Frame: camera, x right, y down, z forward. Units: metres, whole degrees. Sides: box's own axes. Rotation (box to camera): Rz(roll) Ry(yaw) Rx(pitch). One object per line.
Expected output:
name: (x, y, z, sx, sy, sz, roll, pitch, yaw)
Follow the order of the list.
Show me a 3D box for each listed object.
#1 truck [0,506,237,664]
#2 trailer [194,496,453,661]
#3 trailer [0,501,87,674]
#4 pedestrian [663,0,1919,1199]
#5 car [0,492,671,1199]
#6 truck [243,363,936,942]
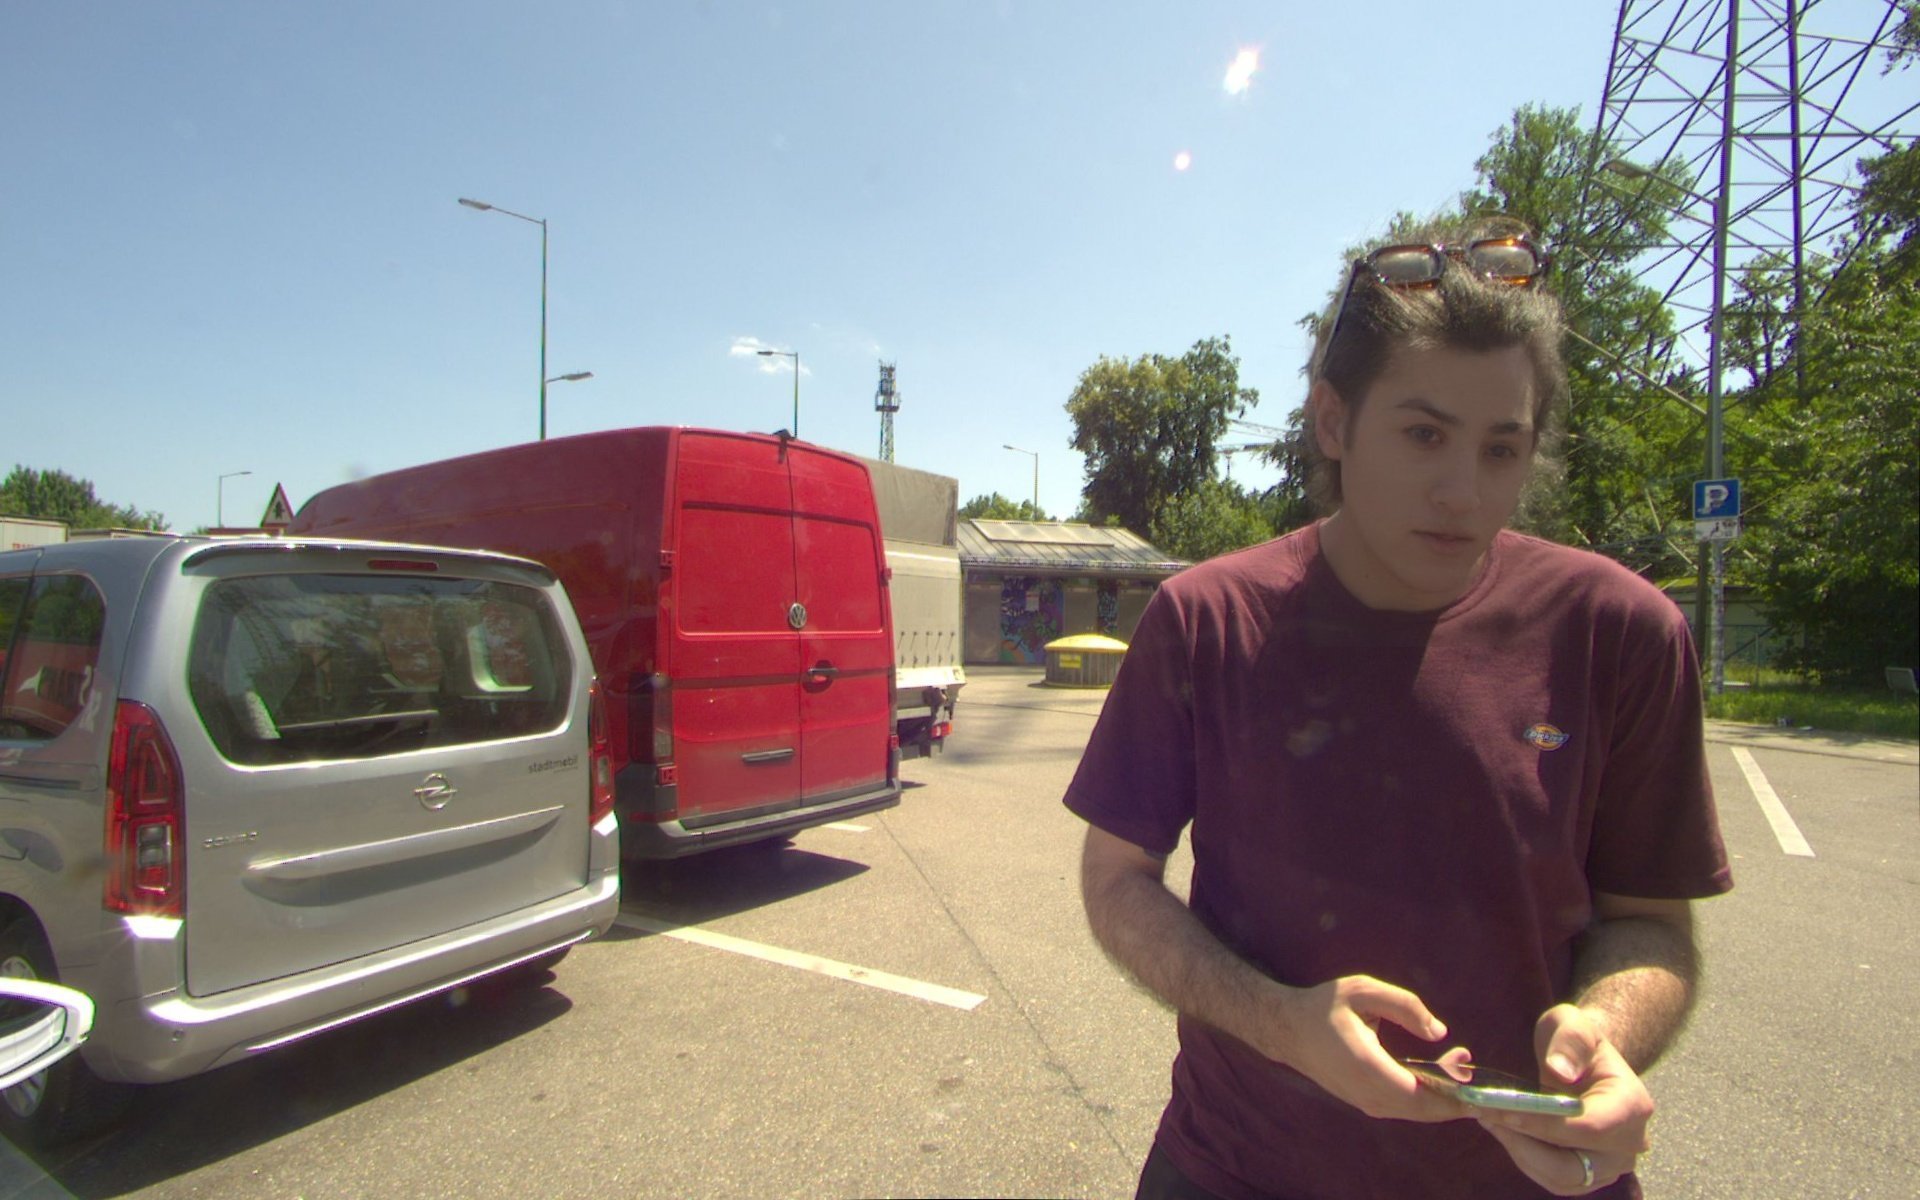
truck: (-27.960, -0.348, 31.771, 14.316, 4.175, 2.901, 0, -3, 33)
trailer: (-19.013, -0.480, 30.811, 2.788, 4.313, 8.686, 1, -1, -3)
trailer: (-28.773, -0.319, 28.010, 13.374, 4.178, 2.871, 0, -1, 33)
pedestrian: (0.377, 0.514, 0.891, 0.926, 1.798, 0.827, 1, 0, 28)
car: (-3.329, 0.640, 4.188, 3.938, 1.776, 1.824, 0, -1, 29)
truck: (-2.842, 0.266, 6.973, 5.233, 2.658, 1.987, 0, -1, 37)
